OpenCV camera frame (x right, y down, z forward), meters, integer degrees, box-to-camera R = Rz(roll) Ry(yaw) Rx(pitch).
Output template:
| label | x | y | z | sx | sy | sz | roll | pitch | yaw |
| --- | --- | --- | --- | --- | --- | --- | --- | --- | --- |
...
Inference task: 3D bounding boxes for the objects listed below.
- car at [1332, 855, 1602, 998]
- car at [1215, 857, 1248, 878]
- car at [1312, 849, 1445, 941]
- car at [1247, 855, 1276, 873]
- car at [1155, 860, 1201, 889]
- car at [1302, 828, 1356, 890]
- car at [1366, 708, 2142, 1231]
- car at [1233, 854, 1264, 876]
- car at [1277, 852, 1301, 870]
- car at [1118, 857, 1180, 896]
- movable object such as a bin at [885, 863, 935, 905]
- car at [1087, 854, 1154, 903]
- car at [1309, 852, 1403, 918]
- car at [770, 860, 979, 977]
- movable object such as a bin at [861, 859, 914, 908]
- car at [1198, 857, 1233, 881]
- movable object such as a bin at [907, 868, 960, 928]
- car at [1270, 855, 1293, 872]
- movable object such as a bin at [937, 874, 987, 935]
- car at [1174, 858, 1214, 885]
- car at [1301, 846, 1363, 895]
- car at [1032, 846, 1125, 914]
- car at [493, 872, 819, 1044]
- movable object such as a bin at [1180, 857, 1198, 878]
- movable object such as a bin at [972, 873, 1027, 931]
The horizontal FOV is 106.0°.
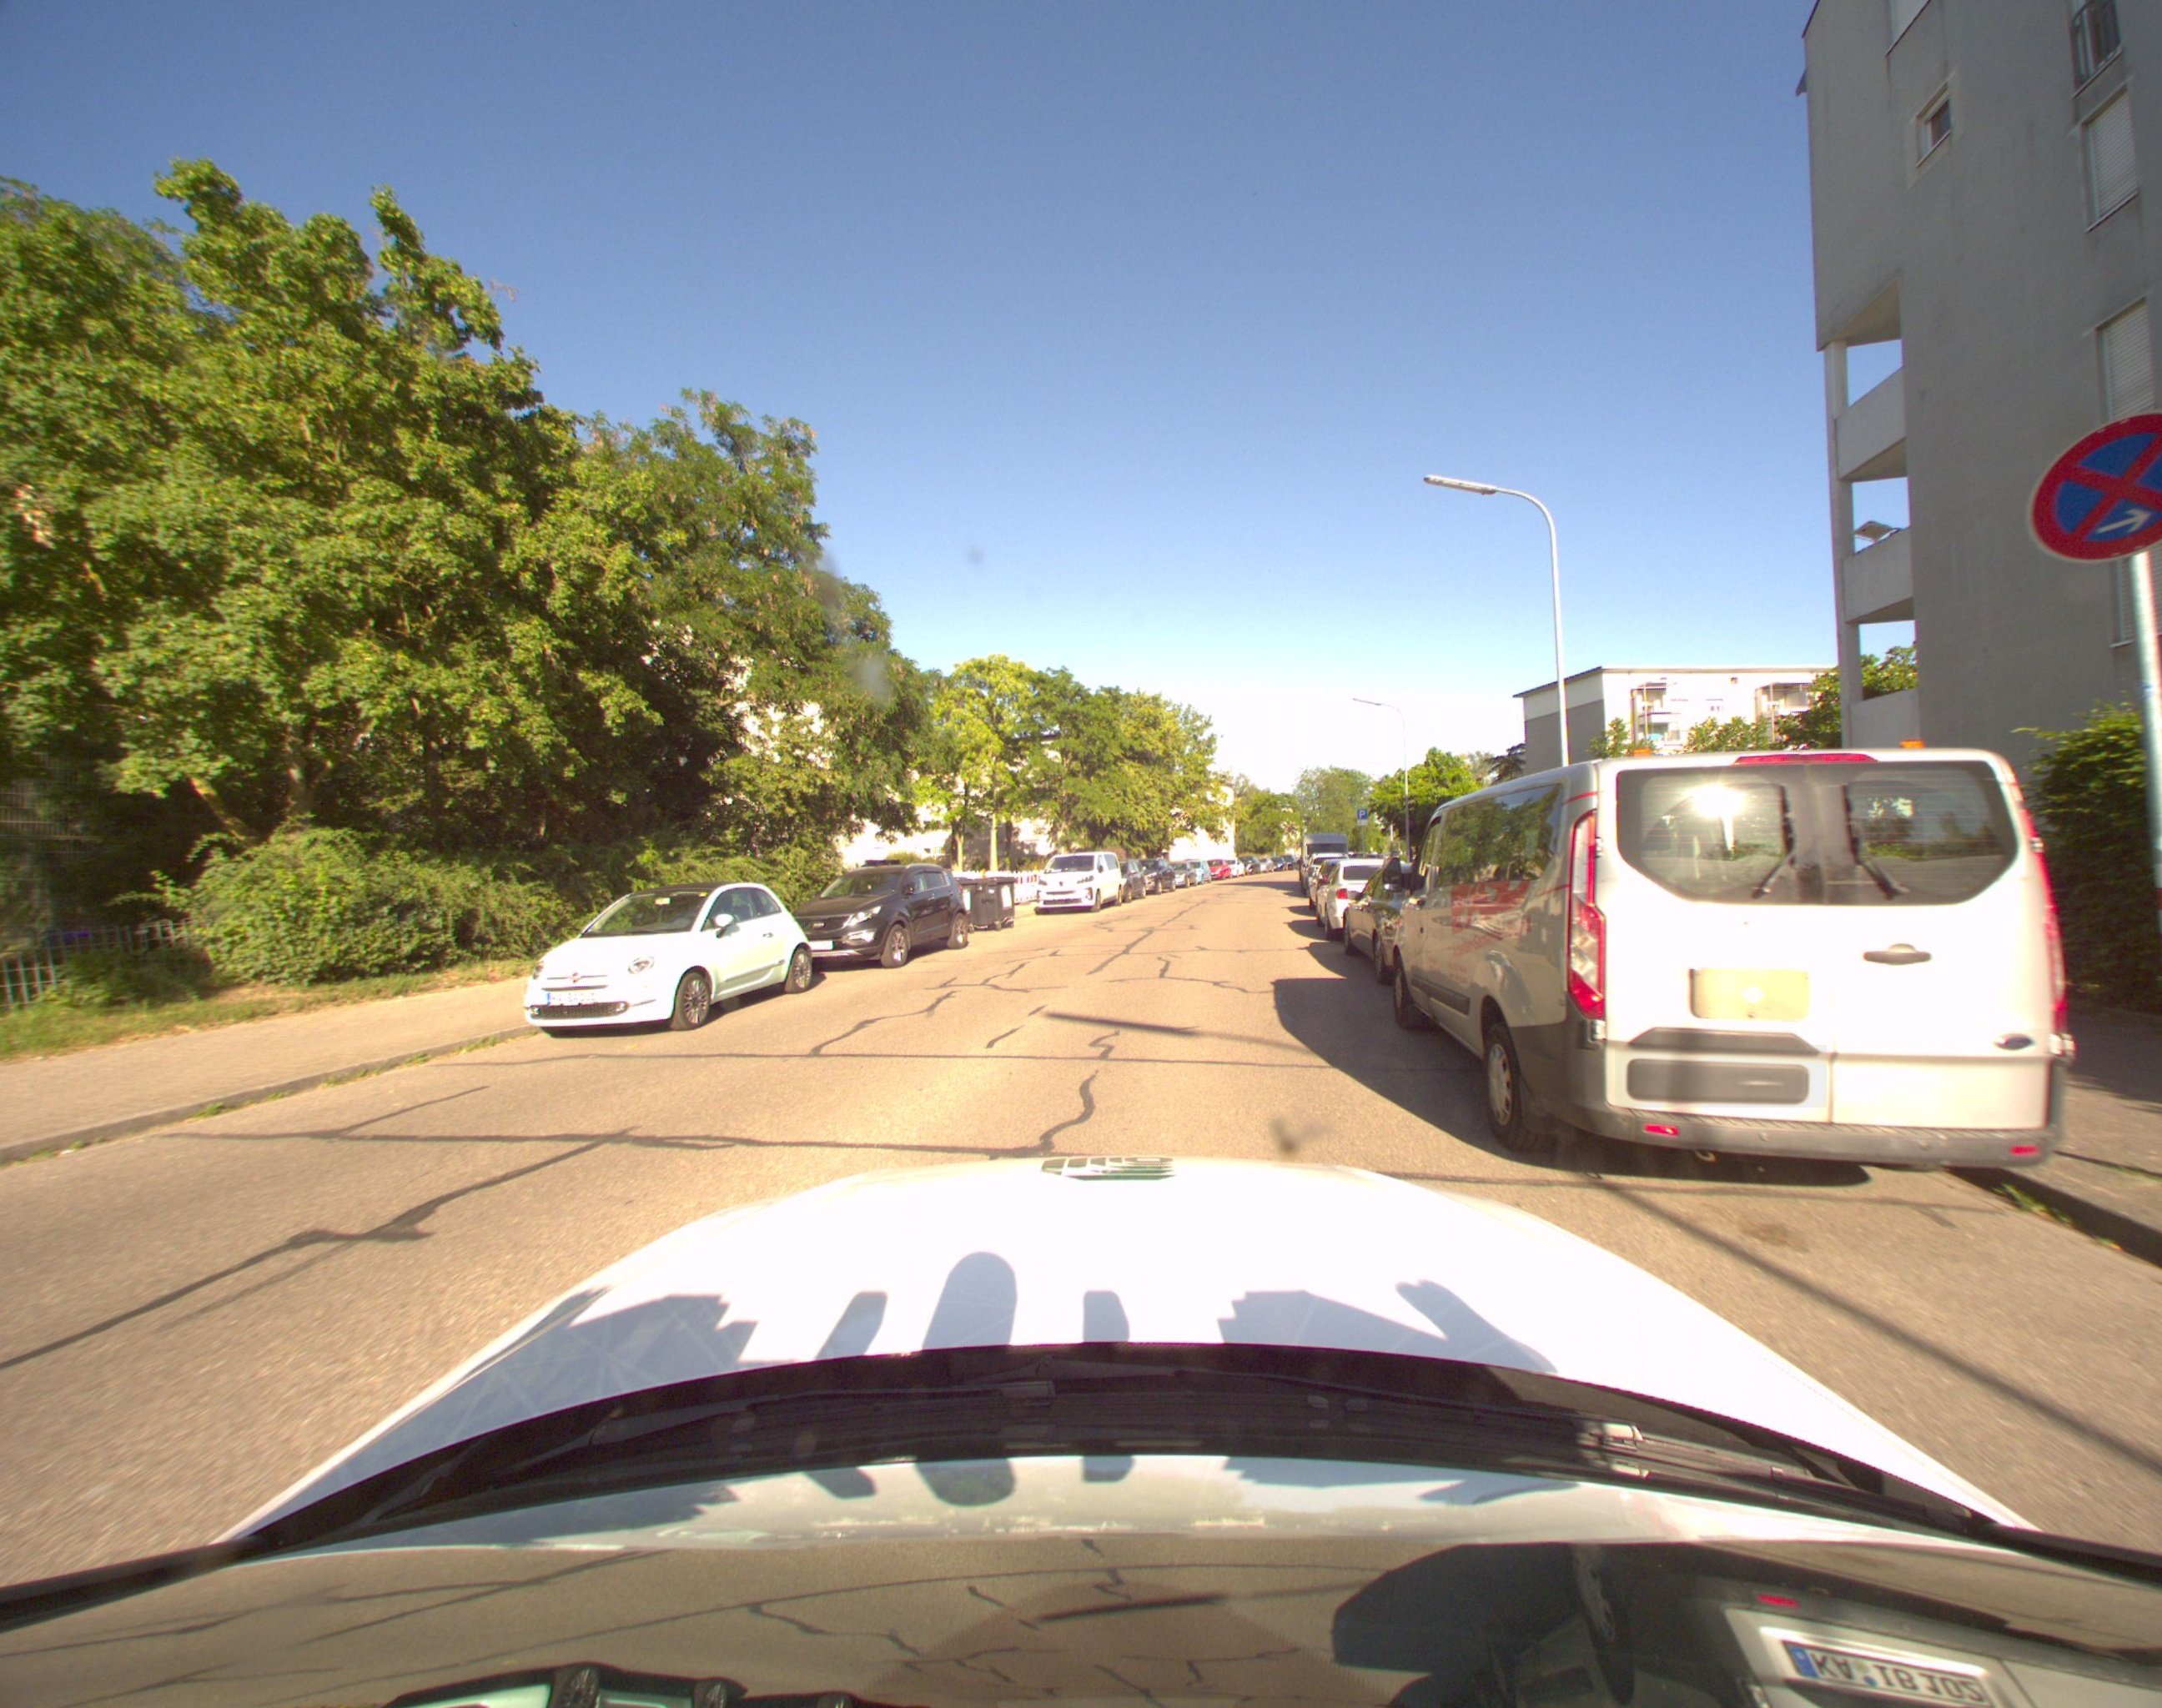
| label | x | y | z | sx | sy | sz | roll | pitch | yaw |
| --- | --- | --- | --- | --- | --- | --- | --- | --- | --- |
| car | 4.659 | 0.767 | 10.734 | 1.981 | 1.417 | 4.938 | -2 | -1 | 10 |
| car | 11.372 | 1.014 | 61.422 | 1.656 | 1.421 | 3.922 | -3 | -1 | 22 |
| car | 5.561 | 0.715 | 15.767 | 1.896 | 1.488 | 4.391 | -2 | -1 | 14 |
| car | 16.342 | 0.892 | 73.625 | 1.645 | 1.486 | 4.075 | -4 | -1 | 24 |
| car | 5.371 | 1.078 | 44.681 | 1.657 | 1.437 | 4.018 | -4 | -1 | 18 |
| car | 10.838 | 0.214 | 35.702 | 2.088 | 2.486 | 5.881 | -1 | 0 | 16 |
| car | 3.371 | 0.469 | 5.602 | 1.980 | 1.912 | 4.969 | -2 | -1 | 12 |
| car | 13.906 | 0.857 | 67.616 | 1.656 | 1.666 | 4.430 | -4 | -1 | 22 |
| car | 21.432 | 0.673 | 83.842 | 1.645 | 1.688 | 4.072 | -4 | -1 | 24 |
| car | 3.194 | 0.985 | 37.435 | 1.734 | 1.617 | 4.384 | -3 | -1 | 19 |
| movable object such as a bin | -6.037 | 1.057 | 28.857 | 1.267 | 1.402 | 1.266 | -2 | -1 | 12 |
| car | 1.623 | 0.908 | 31.798 | 1.544 | 1.722 | 4.359 | -3 | -1 | 16 |
| car | 7.073 | 0.751 | 21.341 | 1.896 | 1.488 | 4.391 | -2 | -1 | 14 |
| car | -3.374 | 0.989 | 14.238 | 1.663 | 1.638 | 4.266 | -4 | -1 | 13 |
| movable object such as a bin | -6.406 | 0.970 | 27.016 | 1.251 | 1.551 | 1.283 | -2 | -1 | 8 |
| car | 9.314 | 0.997 | 56.200 | 1.656 | 1.474 | 3.696 | -4 | -1 | 20 |
| movable object such as a bin | -3.643 | 1.077 | 20.198 | 1.056 | 1.400 | 0.895 | -1 | 0 | 4 |
| car | 19.310 | 0.899 | 78.406 | 1.646 | 1.426 | 4.069 | -4 | -1 | 20 |
| movable object such as a bin | -2.752 | 1.152 | 18.958 | 0.604 | 1.340 | 1.274 | -2 | -1 | 17 |
| car | 6.936 | 1.040 | 49.708 | 1.656 | 1.474 | 3.696 | -4 | -1 | 20 |
| car | 9.306 | 0.595 | 30.459 | 1.896 | 1.666 | 4.391 | -2 | -1 | 14 |
| car | 0.044 | 0.782 | 26.660 | 1.850 | 1.961 | 4.689 | -3 | -1 | 14 |
| car | -4.607 | 1.035 | 9.441 | 1.617 | 1.527 | 3.426 | -2 | -1 | 7 |
| movable object such as a bin | 8.190 | 1.004 | 61.688 | 1.102 | 1.498 | 1.415 | -2 | 0 | 18 |
| movable object such as a bin | -1.978 | 1.162 | 20.038 | 0.796 | 1.316 | 1.328 | -2 | 0 | 20 |
